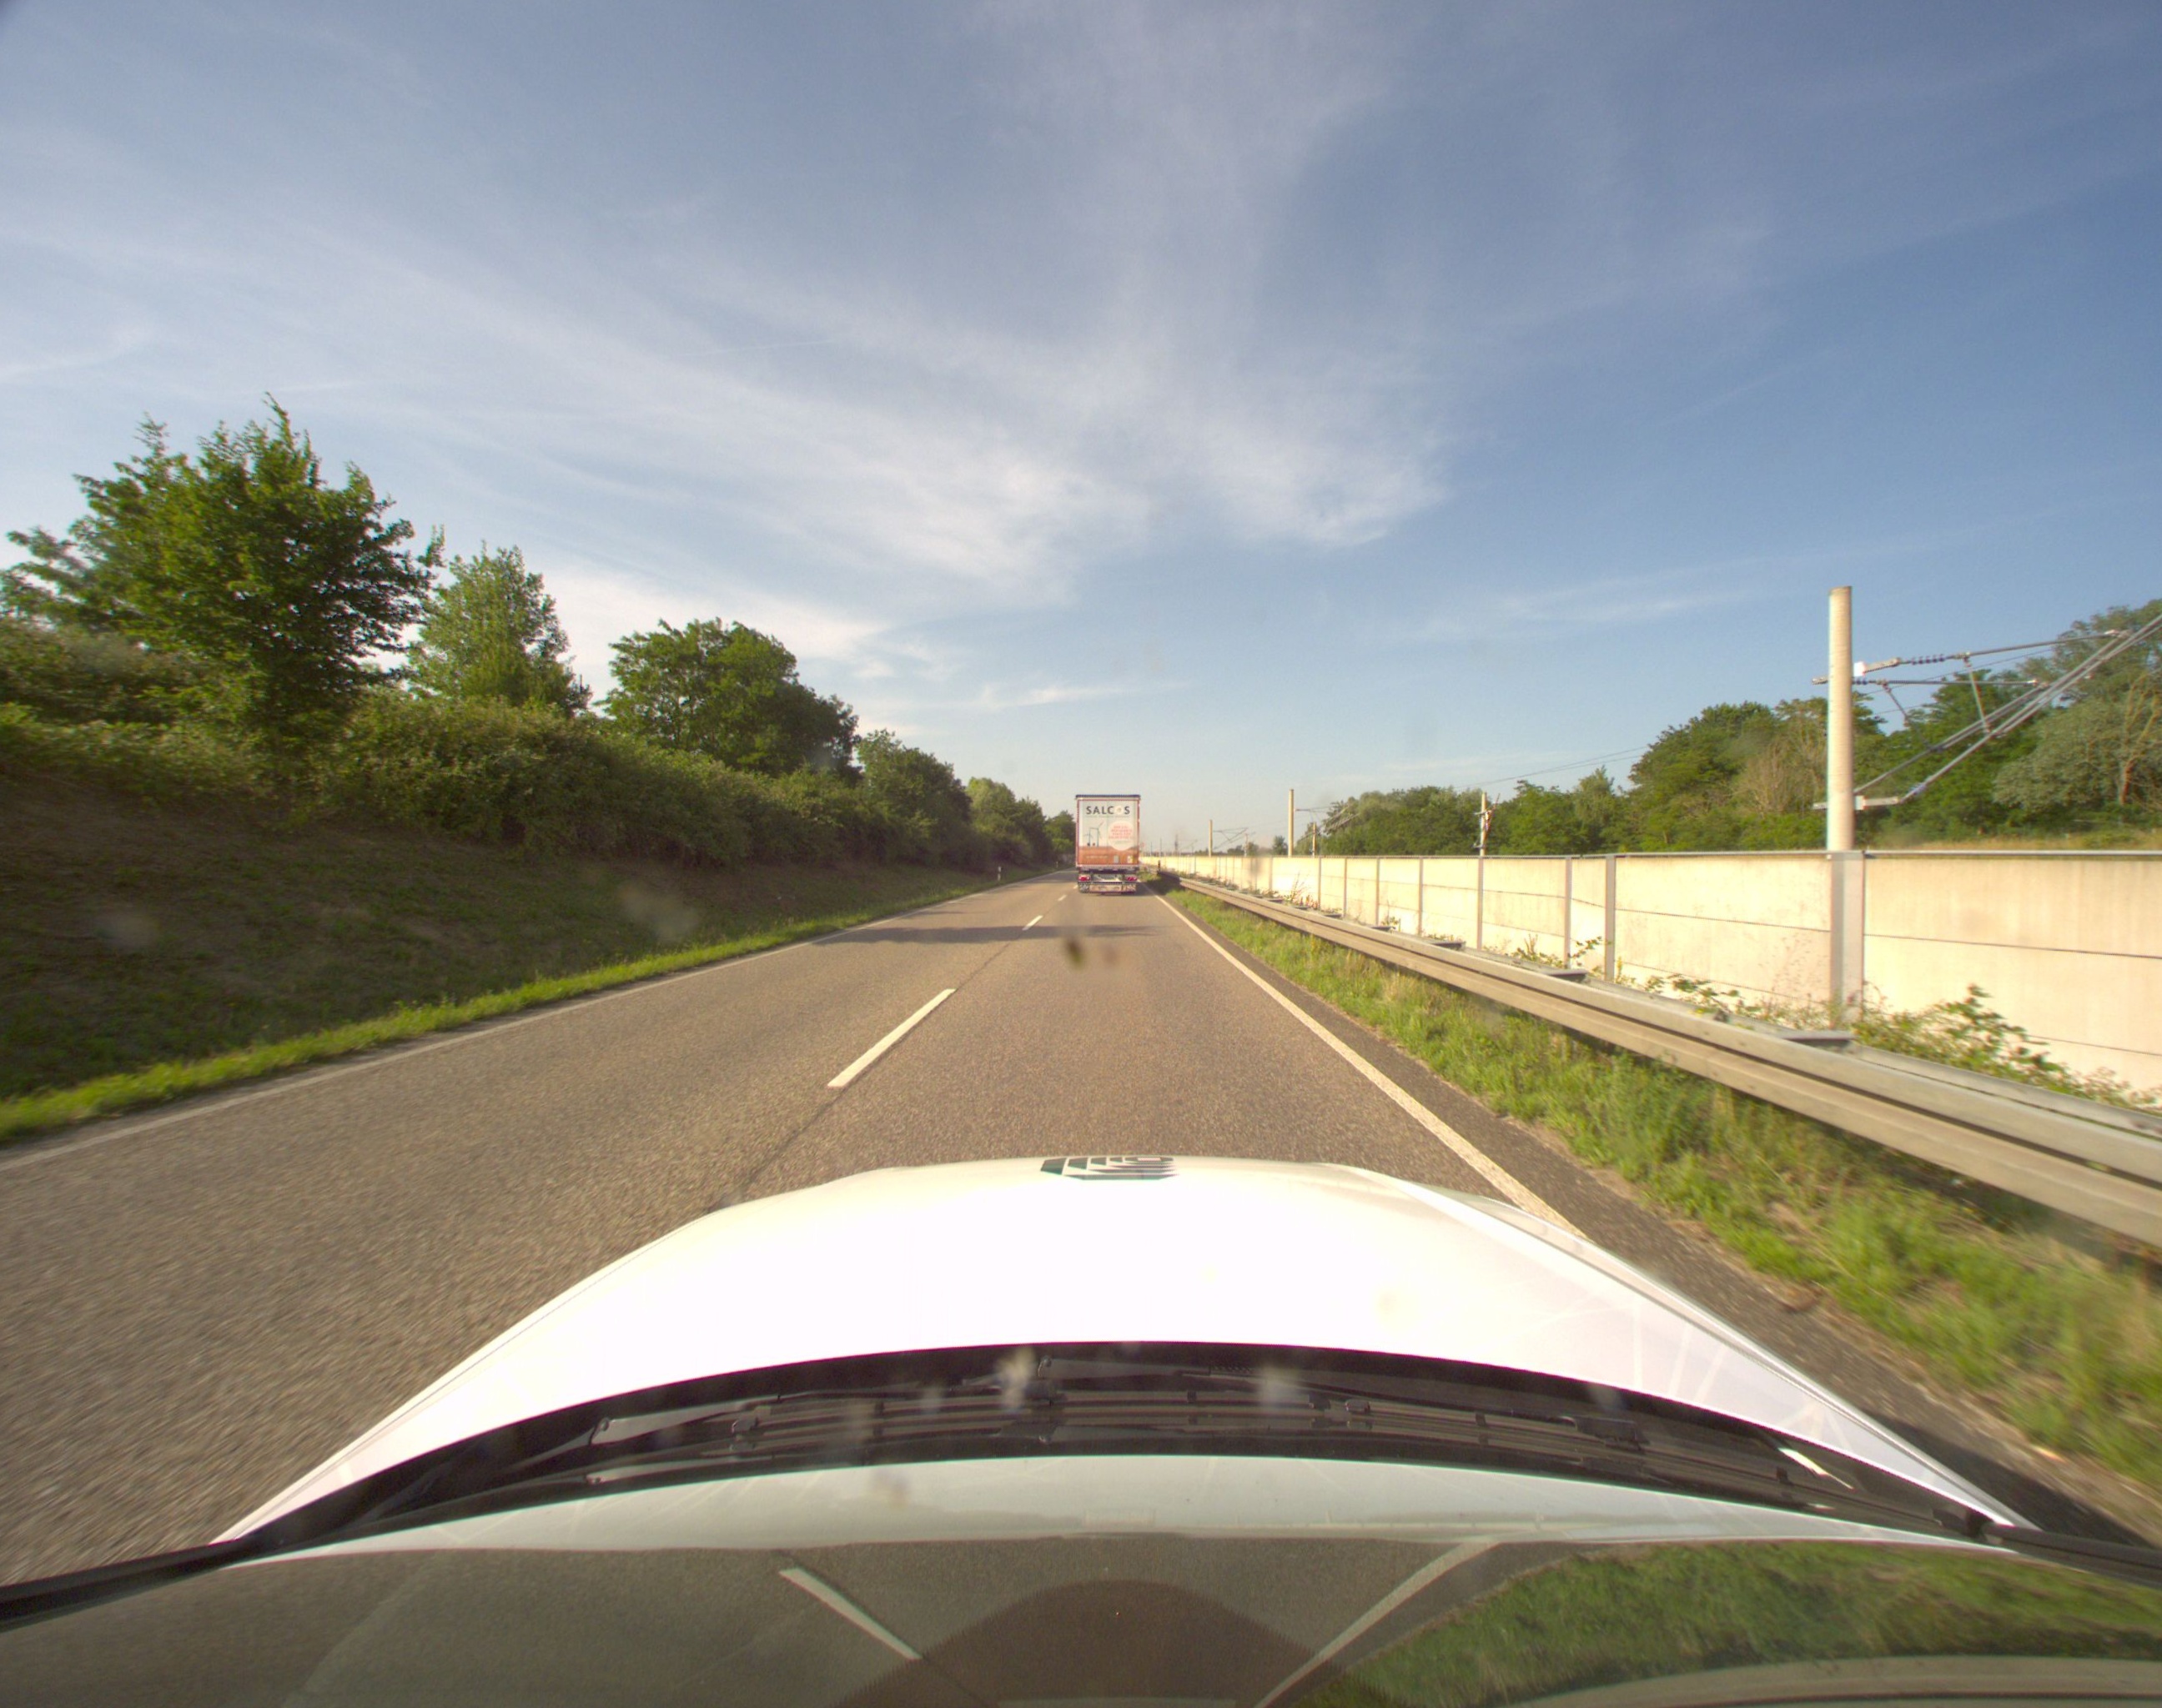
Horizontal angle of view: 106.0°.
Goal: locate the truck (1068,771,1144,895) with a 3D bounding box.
[{"bbox_3d":[1.101,-0.850,38.382,3.022,4.920,11.685,-1,0,1],"label":"truck"}]
